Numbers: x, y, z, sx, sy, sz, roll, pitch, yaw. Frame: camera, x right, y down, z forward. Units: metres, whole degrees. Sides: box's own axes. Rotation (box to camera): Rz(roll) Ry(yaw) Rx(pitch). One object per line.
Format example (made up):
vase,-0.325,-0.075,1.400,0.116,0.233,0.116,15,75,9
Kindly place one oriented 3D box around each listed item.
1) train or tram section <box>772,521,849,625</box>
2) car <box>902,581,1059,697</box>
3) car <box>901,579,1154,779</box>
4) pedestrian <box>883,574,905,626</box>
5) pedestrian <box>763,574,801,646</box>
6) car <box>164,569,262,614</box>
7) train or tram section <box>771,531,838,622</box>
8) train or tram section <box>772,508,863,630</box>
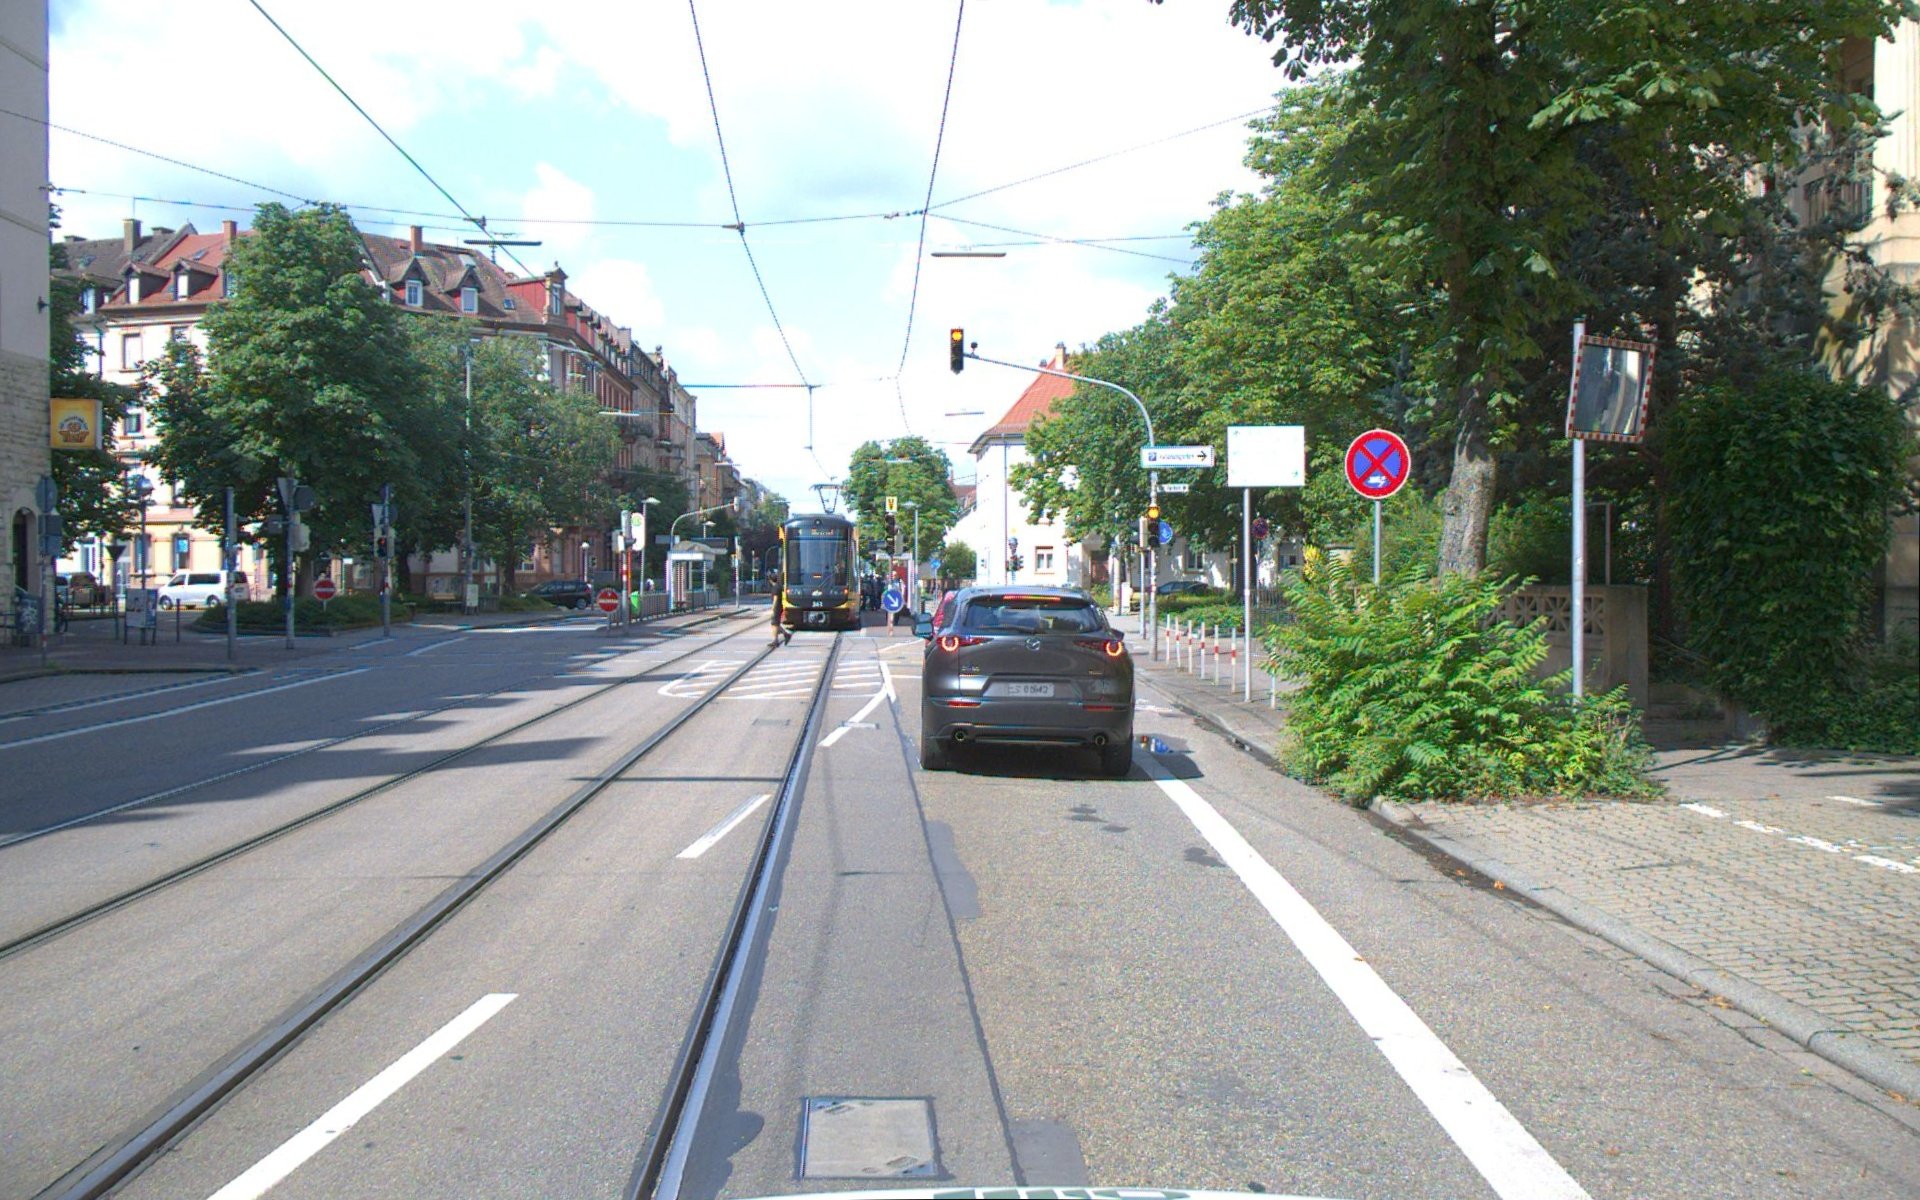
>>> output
train or tram section,-5.693,-0.950,61.783,2.601,3.589,8.484,-1,0,-7
car,0.192,0.485,24.345,1.750,1.518,4.877,0,1,-6
car,0.457,0.594,15.079,1.754,1.538,4.346,1,1,-5
pedestrian,-2.102,0.004,52.371,0.654,1.633,0.699,0,0,-6
pedestrian,-4.115,0.225,38.148,0.858,1.633,0.631,0,0,-7
car,-38.373,-0.423,85.010,4.033,2.048,2.002,-3,0,6
train or tram section,-6.676,-0.967,70.224,2.601,3.589,8.484,-1,0,-7
train or tram section,-4.715,-0.924,53.372,2.601,3.589,8.484,-1,0,-7
